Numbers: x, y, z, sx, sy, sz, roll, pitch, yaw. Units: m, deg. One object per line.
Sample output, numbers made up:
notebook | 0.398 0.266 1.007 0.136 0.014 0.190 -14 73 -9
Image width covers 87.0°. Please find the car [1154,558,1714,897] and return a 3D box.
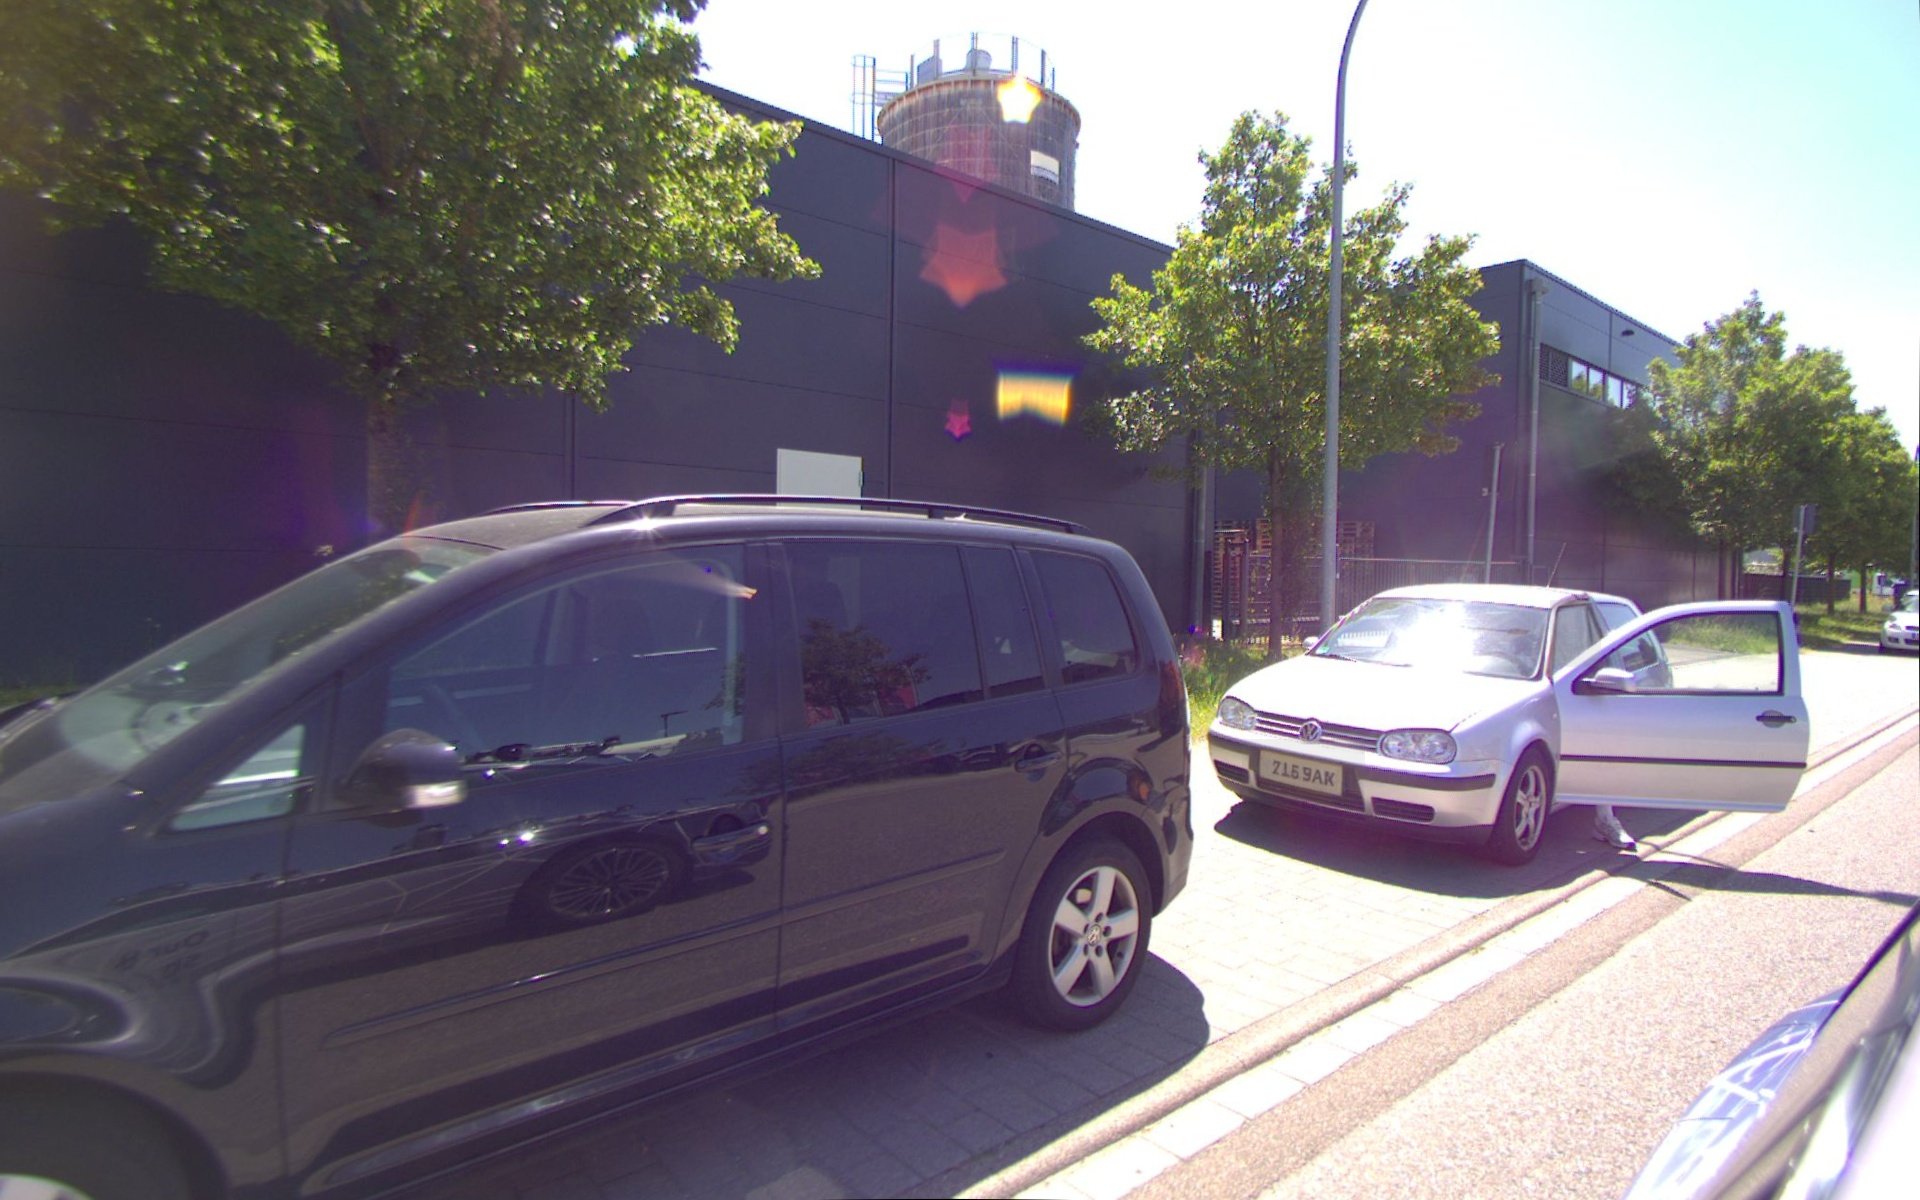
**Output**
car | 3.240 0.528 6.517 4.116 1.475 1.711 -1 3 -41

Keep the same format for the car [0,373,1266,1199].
car | -1.108 0.460 2.899 4.292 1.690 1.741 -1 3 -41

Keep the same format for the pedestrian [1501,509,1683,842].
pedestrian | 3.705 0.405 5.995 0.710 1.832 0.701 1 1 15

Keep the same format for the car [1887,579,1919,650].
car | 22.647 0.327 23.100 3.602 1.528 1.735 -1 4 -41
